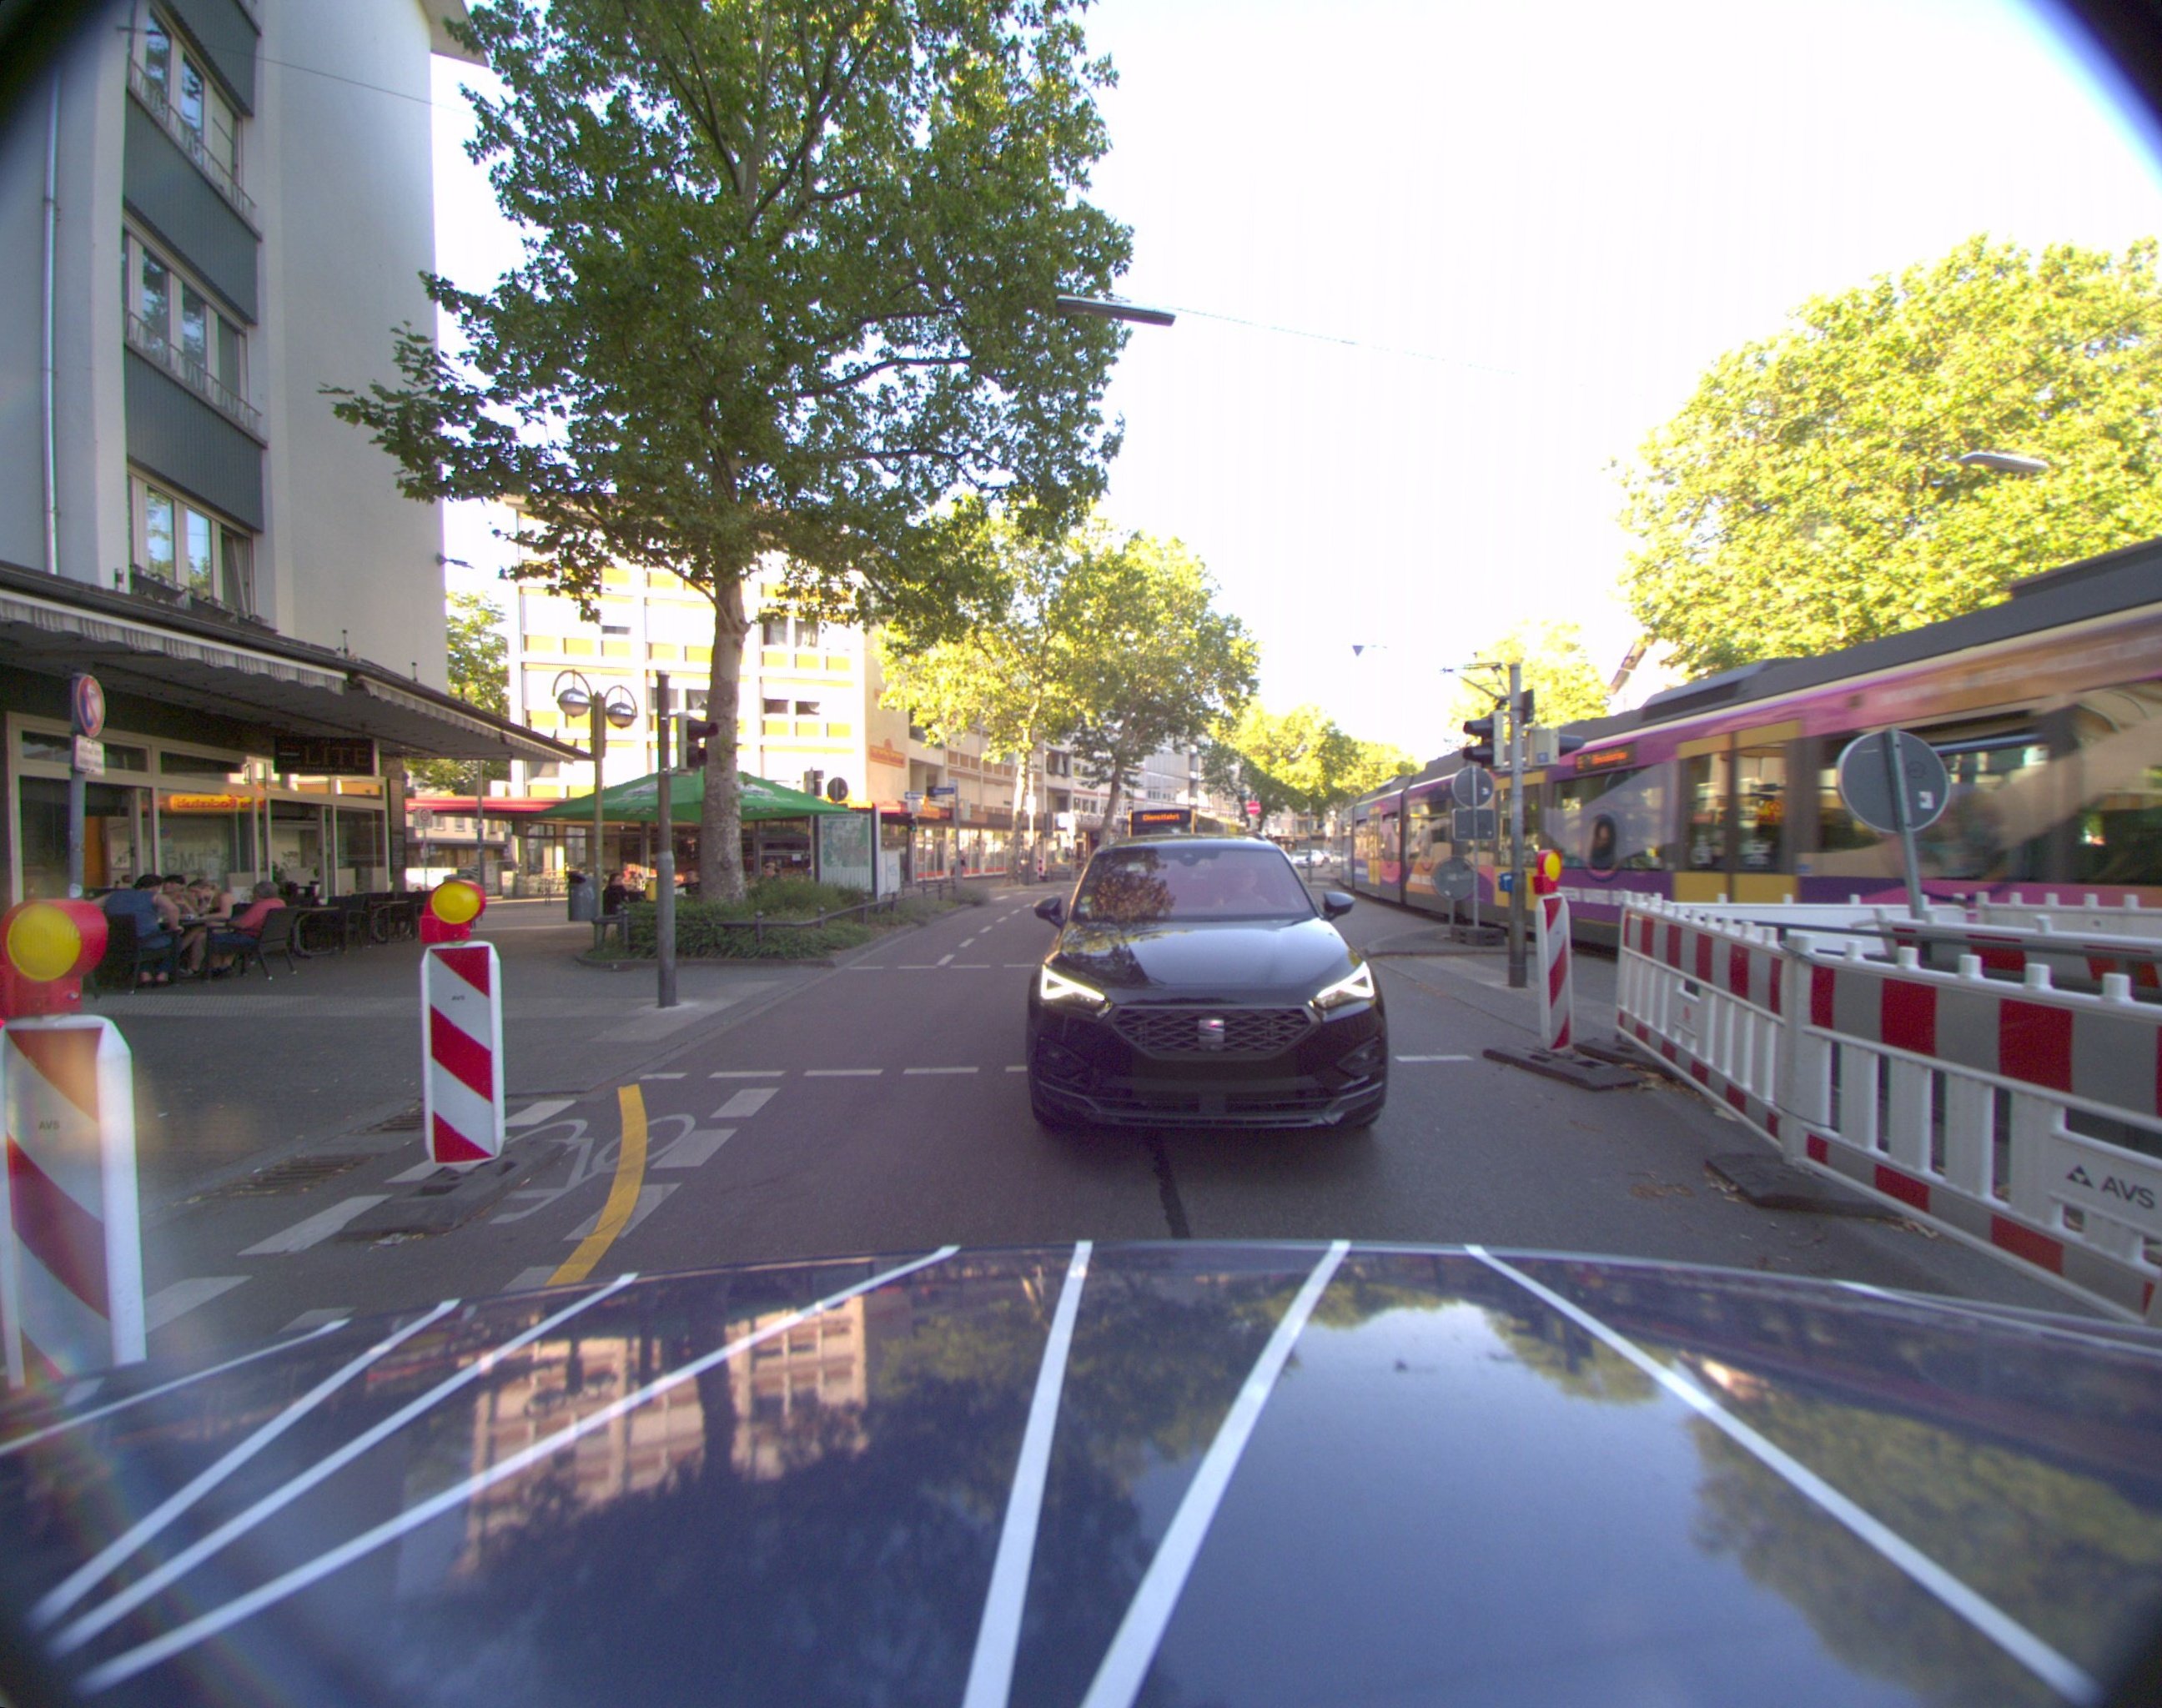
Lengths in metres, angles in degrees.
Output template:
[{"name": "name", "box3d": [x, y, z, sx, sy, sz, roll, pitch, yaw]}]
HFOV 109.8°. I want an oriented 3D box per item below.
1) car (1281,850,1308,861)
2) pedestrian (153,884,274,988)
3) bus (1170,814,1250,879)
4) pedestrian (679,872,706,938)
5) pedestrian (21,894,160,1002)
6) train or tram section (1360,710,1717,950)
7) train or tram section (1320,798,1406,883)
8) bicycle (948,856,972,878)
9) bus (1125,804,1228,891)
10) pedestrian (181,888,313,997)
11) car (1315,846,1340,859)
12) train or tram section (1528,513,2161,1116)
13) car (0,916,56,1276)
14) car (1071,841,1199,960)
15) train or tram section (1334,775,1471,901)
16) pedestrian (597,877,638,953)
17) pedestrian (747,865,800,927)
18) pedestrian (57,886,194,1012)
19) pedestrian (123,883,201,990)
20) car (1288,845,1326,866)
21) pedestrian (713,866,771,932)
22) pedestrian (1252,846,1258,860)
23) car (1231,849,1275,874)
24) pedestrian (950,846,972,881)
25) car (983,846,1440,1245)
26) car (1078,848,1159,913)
[{"name": "car", "box3d": [23.922, 0.136, 85.034, 2.629, 1.209, 1.200, -1, 2, -6]}, {"name": "pedestrian", "box3d": [-10.693, 0.984, 9.391, 0.666, 1.211, 0.717, 0, 0, -5]}, {"name": "bus", "box3d": [7.171, -0.400, 40.964, 2.749, 3.085, 9.509, 0, 1, 19]}, {"name": "pedestrian", "box3d": [-7.412, 0.958, 14.495, 0.433, 1.212, 0.467, 0, 1, -29]}, {"name": "pedestrian", "box3d": [-11.087, 1.024, 8.535, 0.718, 1.123, 0.649, 1, 0, -24]}, {"name": "train or tram section", "box3d": [8.593, -0.380, 16.327, 2.840, 3.467, 10.344, -1, 1, 9]}, {"name": "train or tram section", "box3d": [13.195, -0.608, 36.375, 2.839, 3.467, 10.349, -1, 1, 15]}, {"name": "bicycle", "box3d": [-6.670, 0.695, 42.044, 0.528, 1.136, 1.976, -1, 1, 15]}, {"name": "bus", "box3d": [4.286, -0.267, 31.915, 2.749, 3.085, 9.508, 0, 1, 17]}, {"name": "pedestrian", "box3d": [-9.848, 1.017, 9.011, 0.847, 1.191, 0.649, 1, 0, -22]}, {"name": "car", "box3d": [29.790, -0.173, 91.864, 2.627, 1.464, 1.201, -1, 2, 3]}, {"name": "train or tram section", "box3d": [7.746, -0.262, 6.068, 2.822, 3.467, 10.340, -1, 1, 4]}, {"name": "car", "box3d": [-5.159, 0.990, 1.436, 1.623, 1.457, 3.604, 2, 0, -2]}, {"name": "car", "box3d": [0.969, 0.639, 12.797, 1.743, 1.630, 4.300, -2, 0, 6]}, {"name": "train or tram section", "box3d": [10.685, -0.490, 26.362, 2.875, 3.467, 10.349, -1, 1, 15]}, {"name": "pedestrian", "box3d": [-7.781, 1.009, 12.760, 0.469, 1.212, 0.431, -2, 1, -44]}, {"name": "pedestrian", "box3d": [-6.542, 0.883, 16.196, 0.718, 1.278, 0.769, -1, 1, 13]}, {"name": "pedestrian", "box3d": [-10.220, 0.982, 8.160, 0.651, 1.244, 0.716, 0, 0, -24]}, {"name": "pedestrian", "box3d": [-11.244, 0.984, 9.303, 0.519, 1.236, 0.553, 0, 0, 34]}, {"name": "car", "box3d": [18.907, 0.110, 63.449, 1.952, 1.541, 4.765, 0, 2, 31]}, {"name": "pedestrian", "box3d": [-6.809, 0.886, 15.272, 0.718, 1.278, 0.769, -1, 1, 14]}, {"name": "pedestrian", "box3d": [20.764, -0.081, 90.479, 0.516, 1.647, 0.571, 0, 1, 28]}, {"name": "car", "box3d": [11.424, 0.475, 50.251, 1.908, 1.467, 4.425, 0, 2, 26]}, {"name": "pedestrian", "box3d": [-5.999, 0.473, 37.912, 0.748, 1.747, 0.903, 0, 1, 17]}, {"name": "car", "box3d": [0.684, 0.800, 5.322, 1.848, 1.648, 4.300, -2, 0, 4]}, {"name": "car", "box3d": [1.101, 0.621, 20.162, 1.743, 1.492, 4.301, -2, 0, 7]}]
